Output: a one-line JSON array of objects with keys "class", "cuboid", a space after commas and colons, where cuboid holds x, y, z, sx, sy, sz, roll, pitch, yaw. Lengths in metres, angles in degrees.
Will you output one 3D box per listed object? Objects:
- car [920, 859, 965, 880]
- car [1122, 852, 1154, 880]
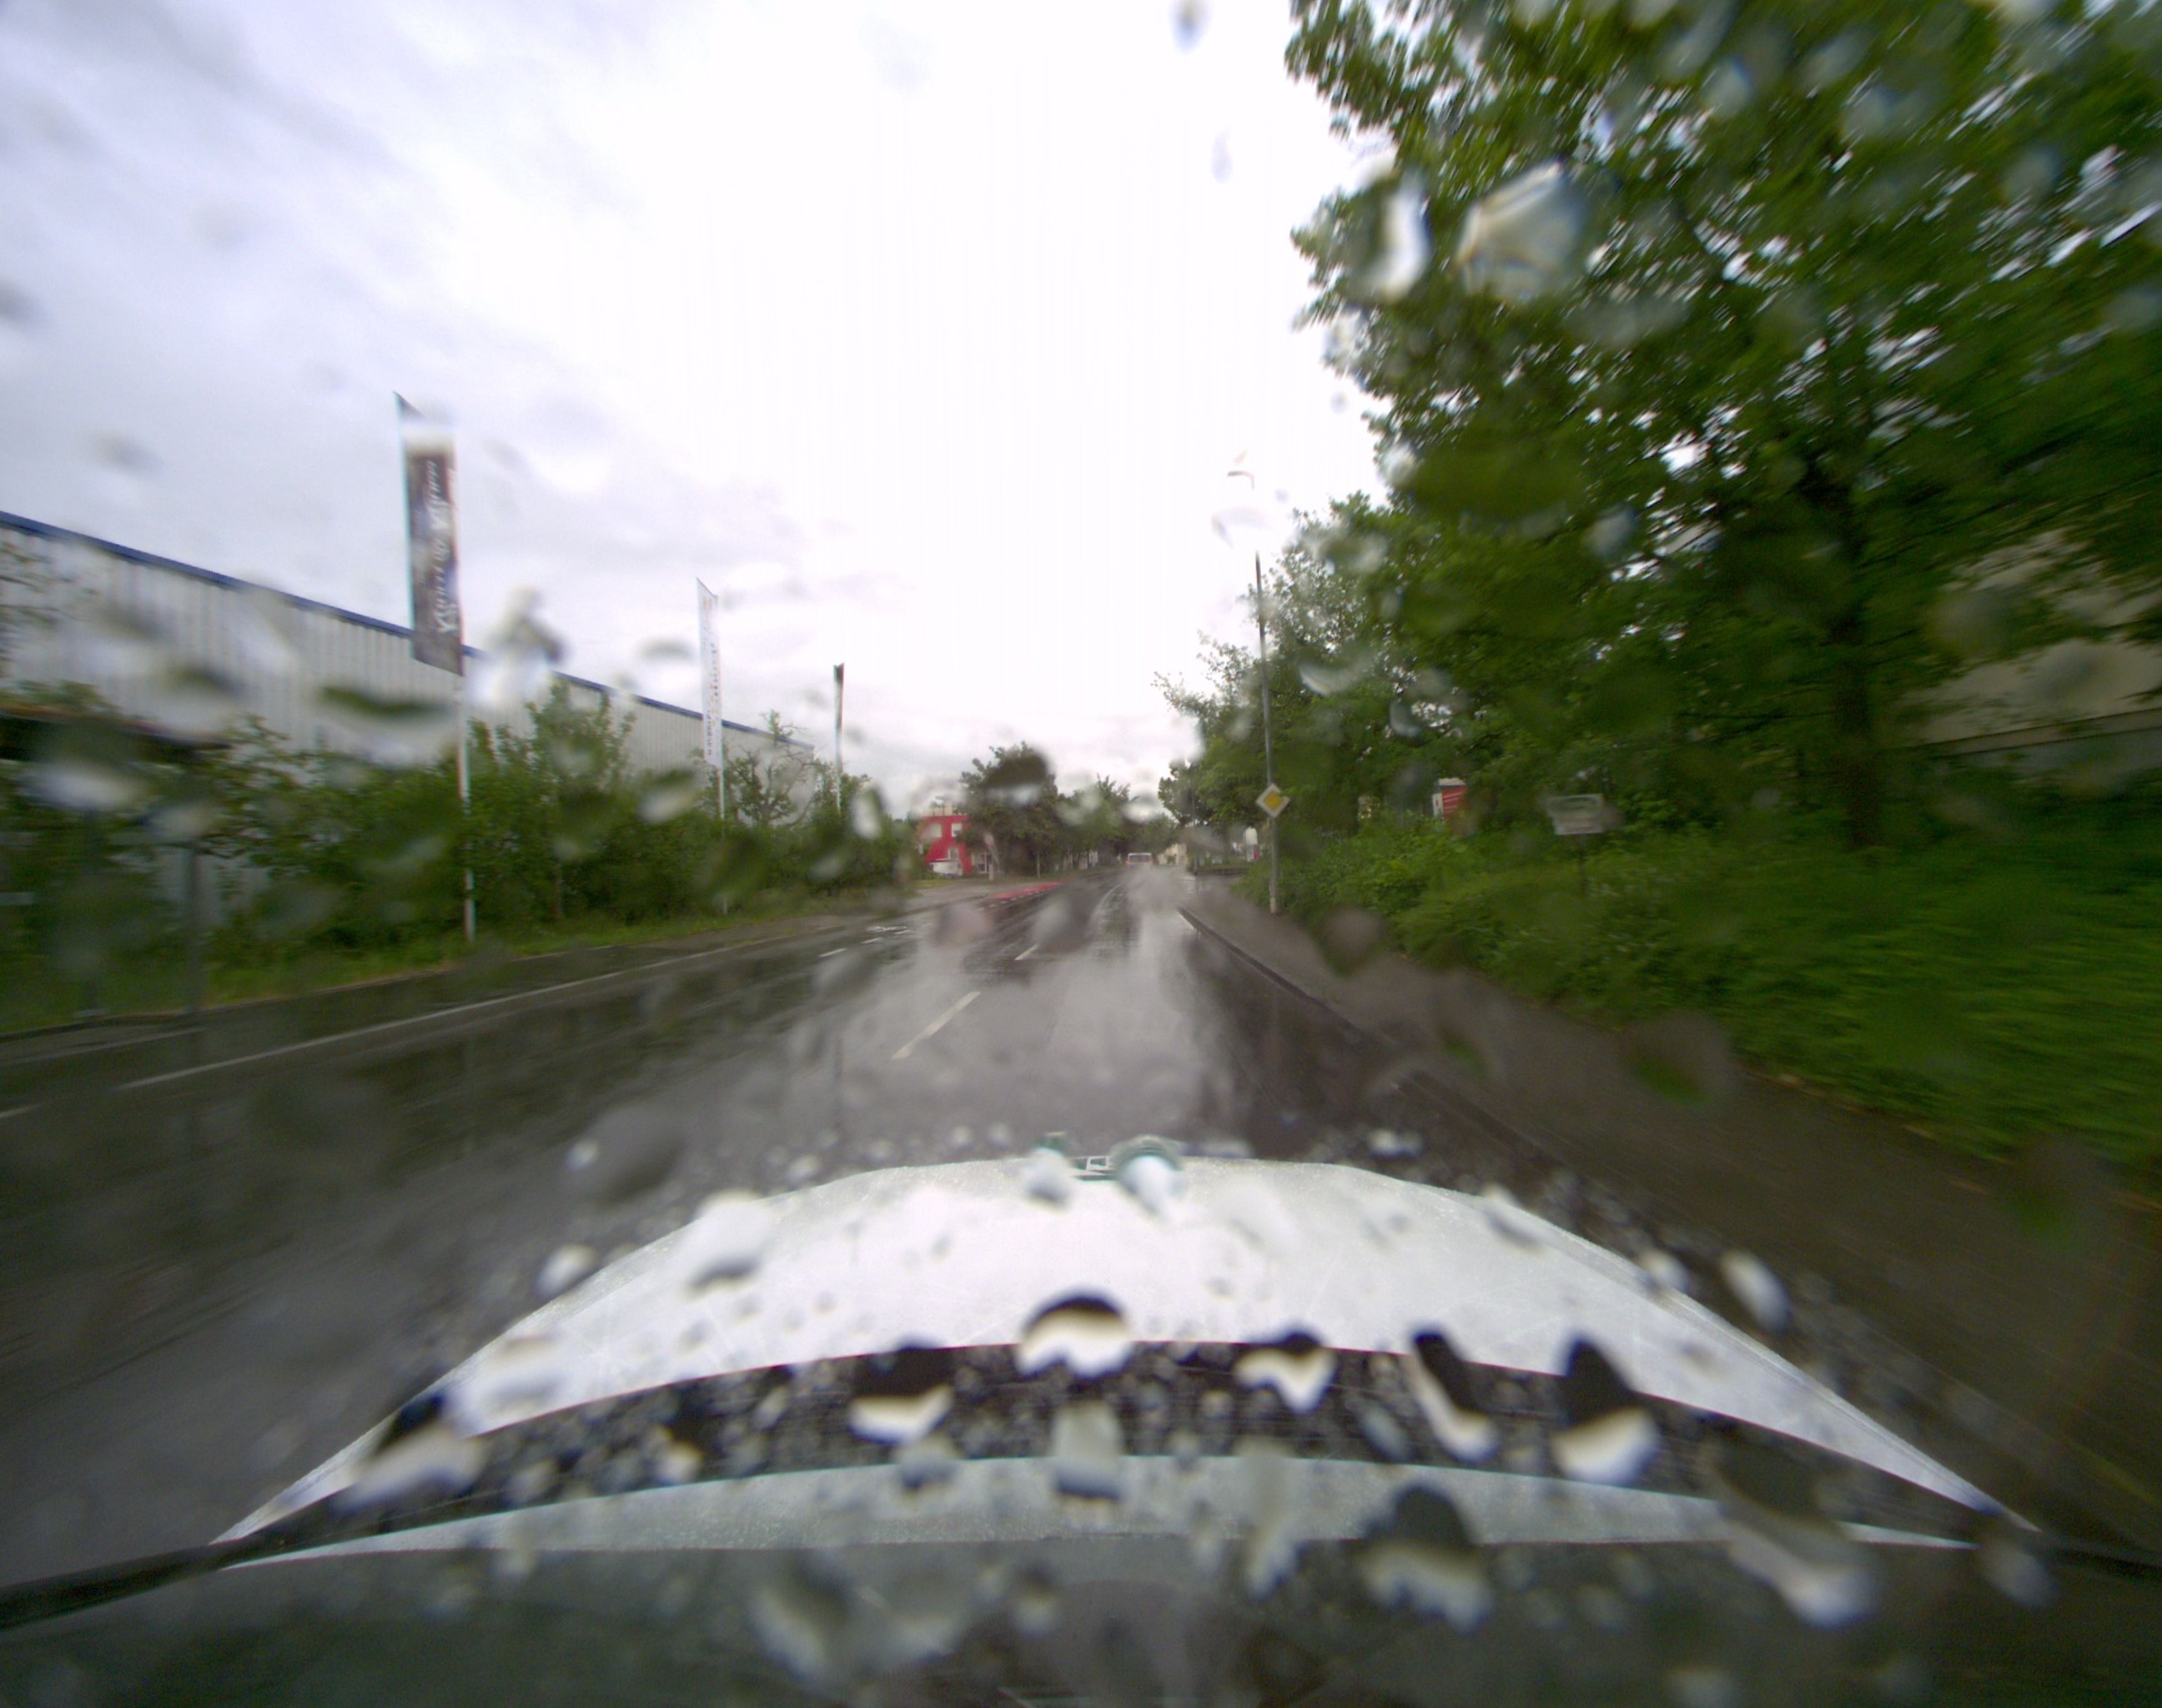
[{"class": "car", "cuboid": [-15.405, 1.707, 90.810, 4.449, 2.310, 2.191, -1, 0, 10]}, {"class": "car", "cuboid": [4.009, 0.788, 57.971, 2.108, 1.888, 4.505, -1, 0, 3]}]
